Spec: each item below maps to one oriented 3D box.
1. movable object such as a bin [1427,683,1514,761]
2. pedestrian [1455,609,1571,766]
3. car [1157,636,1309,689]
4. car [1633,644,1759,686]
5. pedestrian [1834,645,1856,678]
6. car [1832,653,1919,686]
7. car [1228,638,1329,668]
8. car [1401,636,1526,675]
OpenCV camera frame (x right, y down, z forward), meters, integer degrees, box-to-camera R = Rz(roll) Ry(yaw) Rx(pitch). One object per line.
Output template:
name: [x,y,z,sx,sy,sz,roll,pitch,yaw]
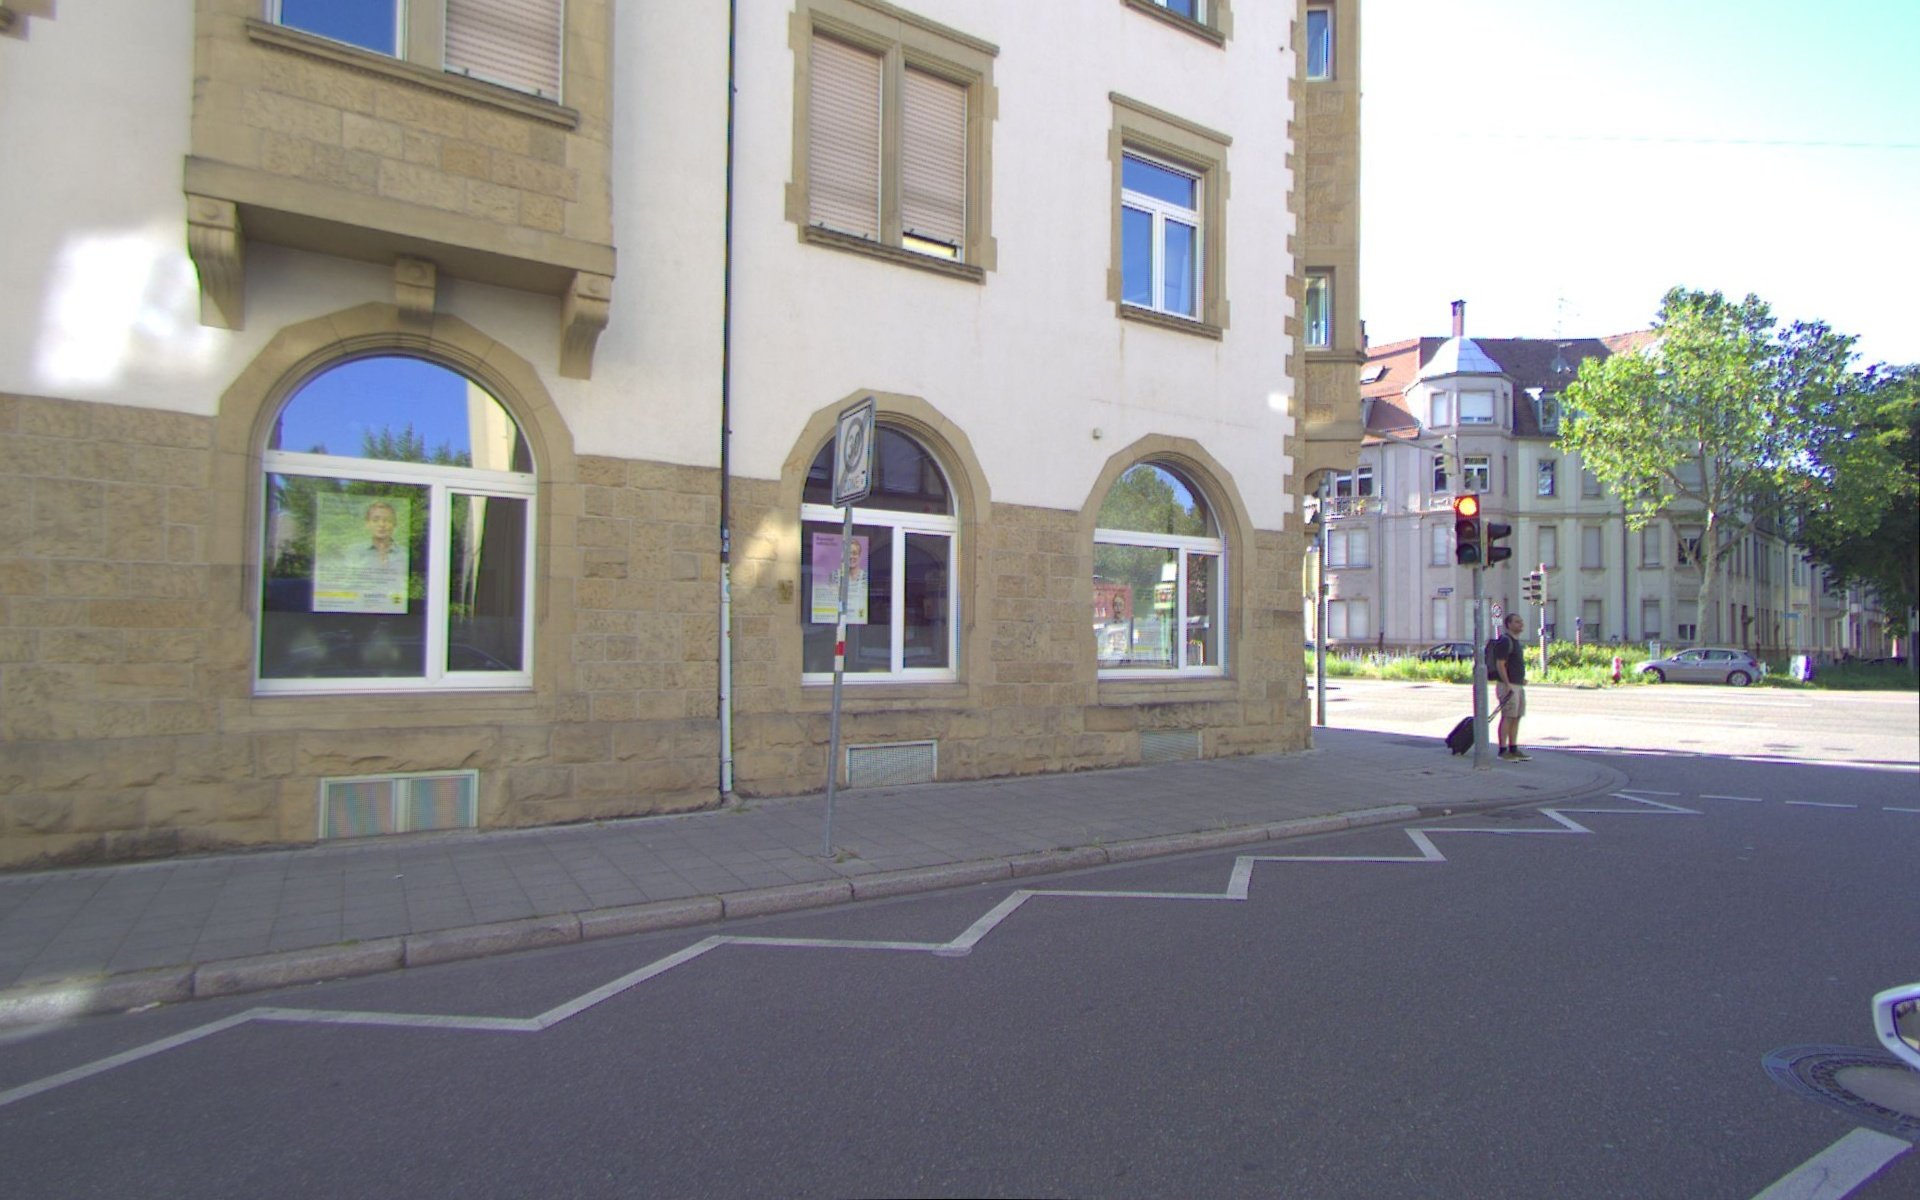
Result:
movable object such as a bin: [6.471,1.531,12.754,0.506,0.904,0.854,2,-3,-42]
pedestrian: [7.087,1.081,12.891,0.743,1.873,1.056,2,1,-42]
car: [8.218,1.834,30.417,4.155,1.476,1.669,-2,-2,42]
car: [27.466,2.384,37.520,3.736,1.419,1.639,-1,-2,40]
pedestrian: [40.219,2.776,45.650,0.694,1.461,0.488,2,0,38]
car: [45.451,3.412,49.503,1.647,1.476,3.595,2,-2,-44]
car: [15.163,2.485,47.902,4.336,1.334,1.638,-1,-2,41]
car: [20.077,2.179,40.148,4.216,1.419,1.639,-1,-2,40]
